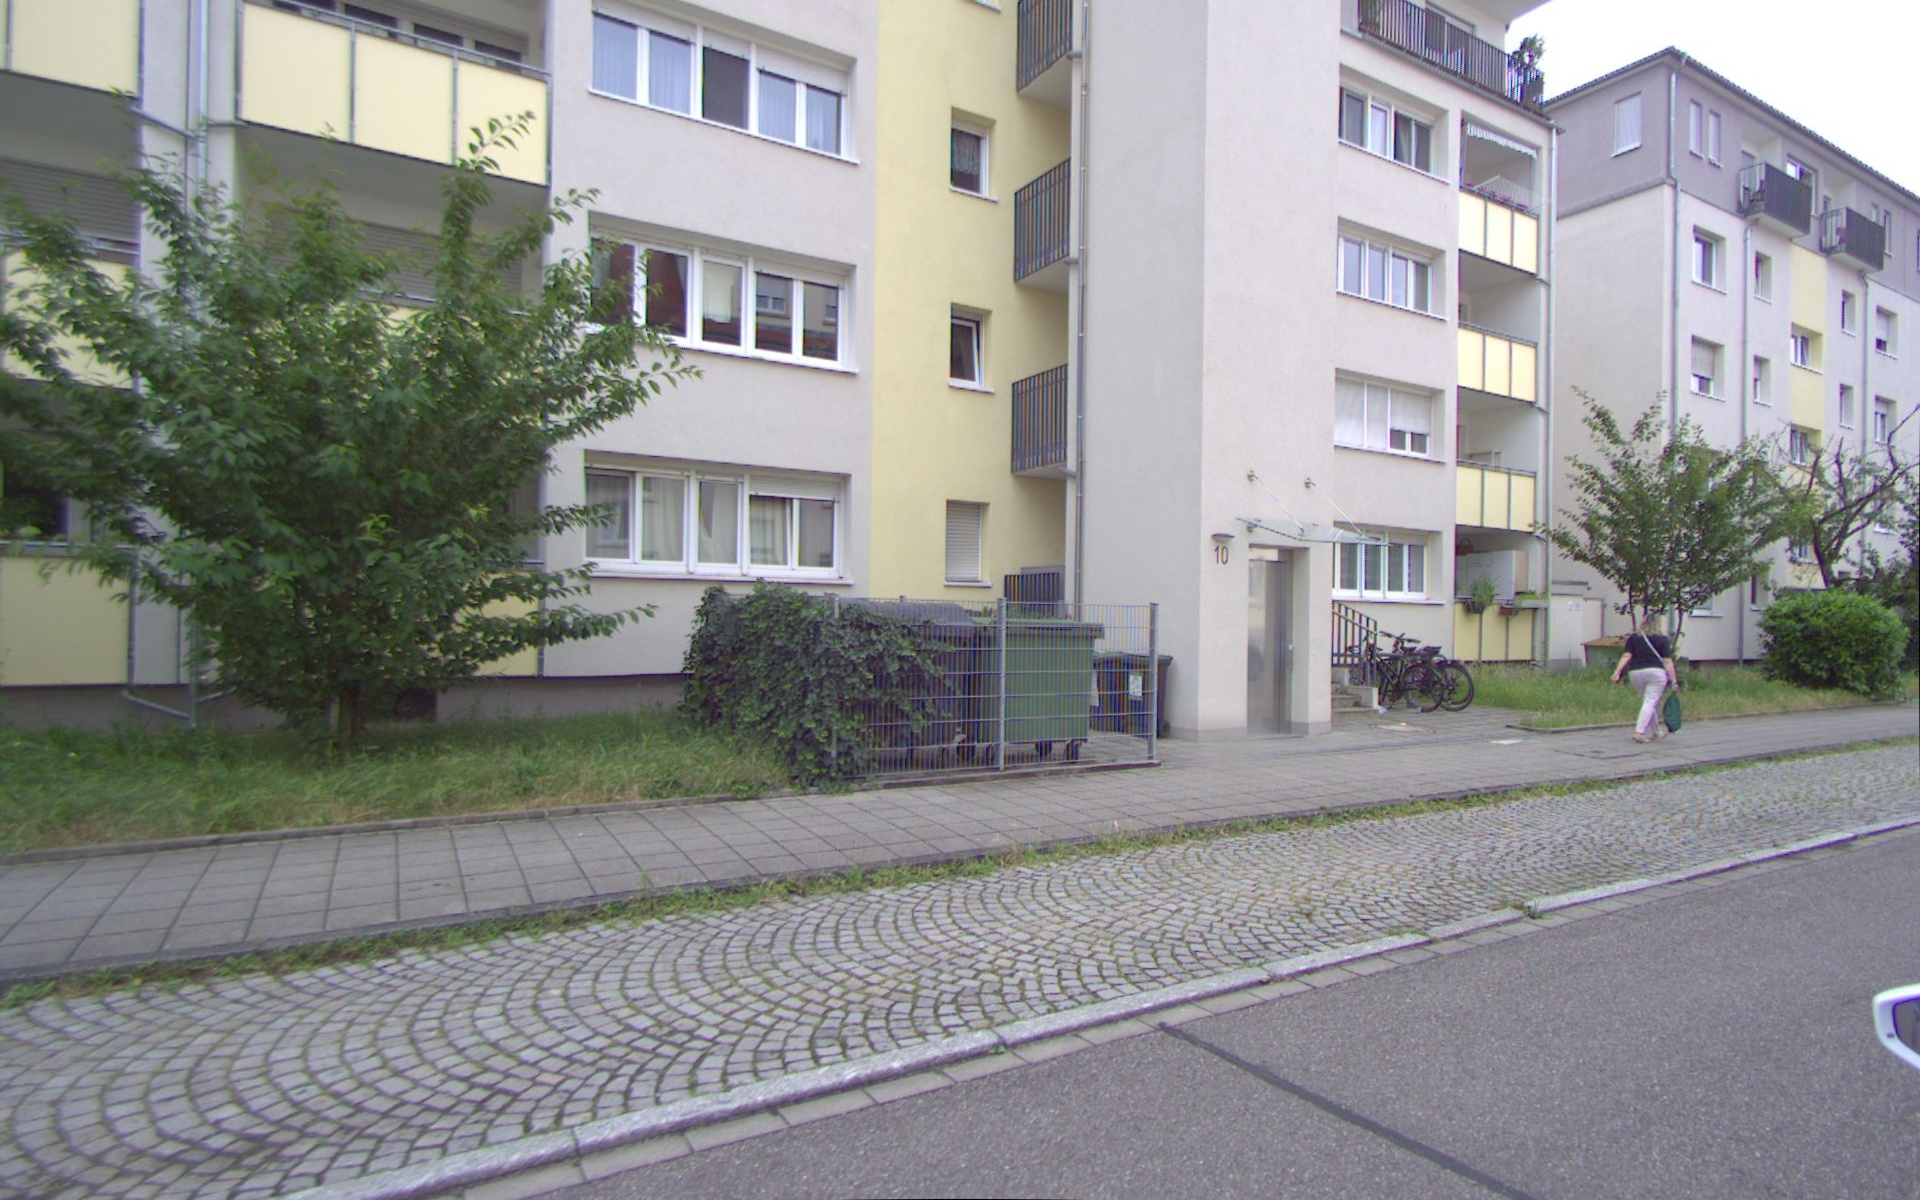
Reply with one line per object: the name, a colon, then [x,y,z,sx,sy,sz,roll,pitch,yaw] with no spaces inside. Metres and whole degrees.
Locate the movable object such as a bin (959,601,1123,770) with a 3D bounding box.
movable object such as a bin: [0.747,0.755,9.326,1.271,1.448,0.801,1,0,-27]

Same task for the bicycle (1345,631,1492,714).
bicycle: [7.076,1.083,15.592,0.618,1.157,2.006,1,-1,-39]

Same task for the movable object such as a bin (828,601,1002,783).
movable object such as a bin: [-0.396,0.752,8.694,1.272,1.448,0.800,1,0,-28]

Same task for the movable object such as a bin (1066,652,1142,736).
movable object such as a bin: [1.710,1.098,11.954,0.644,0.934,0.633,1,-1,-30]

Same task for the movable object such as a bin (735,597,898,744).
movable object such as a bin: [-1.605,0.726,11.117,1.357,1.484,1.345,1,0,-32]

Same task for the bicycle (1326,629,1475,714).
bicycle: [6.609,1.039,15.169,0.618,1.157,2.006,1,-1,-39]

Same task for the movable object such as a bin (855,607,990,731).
movable object such as a bin: [-0.445,0.777,11.848,1.273,1.357,0.974,1,0,-30]

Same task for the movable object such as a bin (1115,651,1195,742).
movable object such as a bin: [2.224,1.087,11.491,0.644,0.978,0.633,1,-1,-30]

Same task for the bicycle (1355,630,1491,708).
bicycle: [7.560,1.093,16.492,0.616,1.157,2.011,1,-1,-33]

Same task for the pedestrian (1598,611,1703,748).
pedestrian: [8.655,0.959,12.586,0.937,1.631,0.794,1,0,-35]
